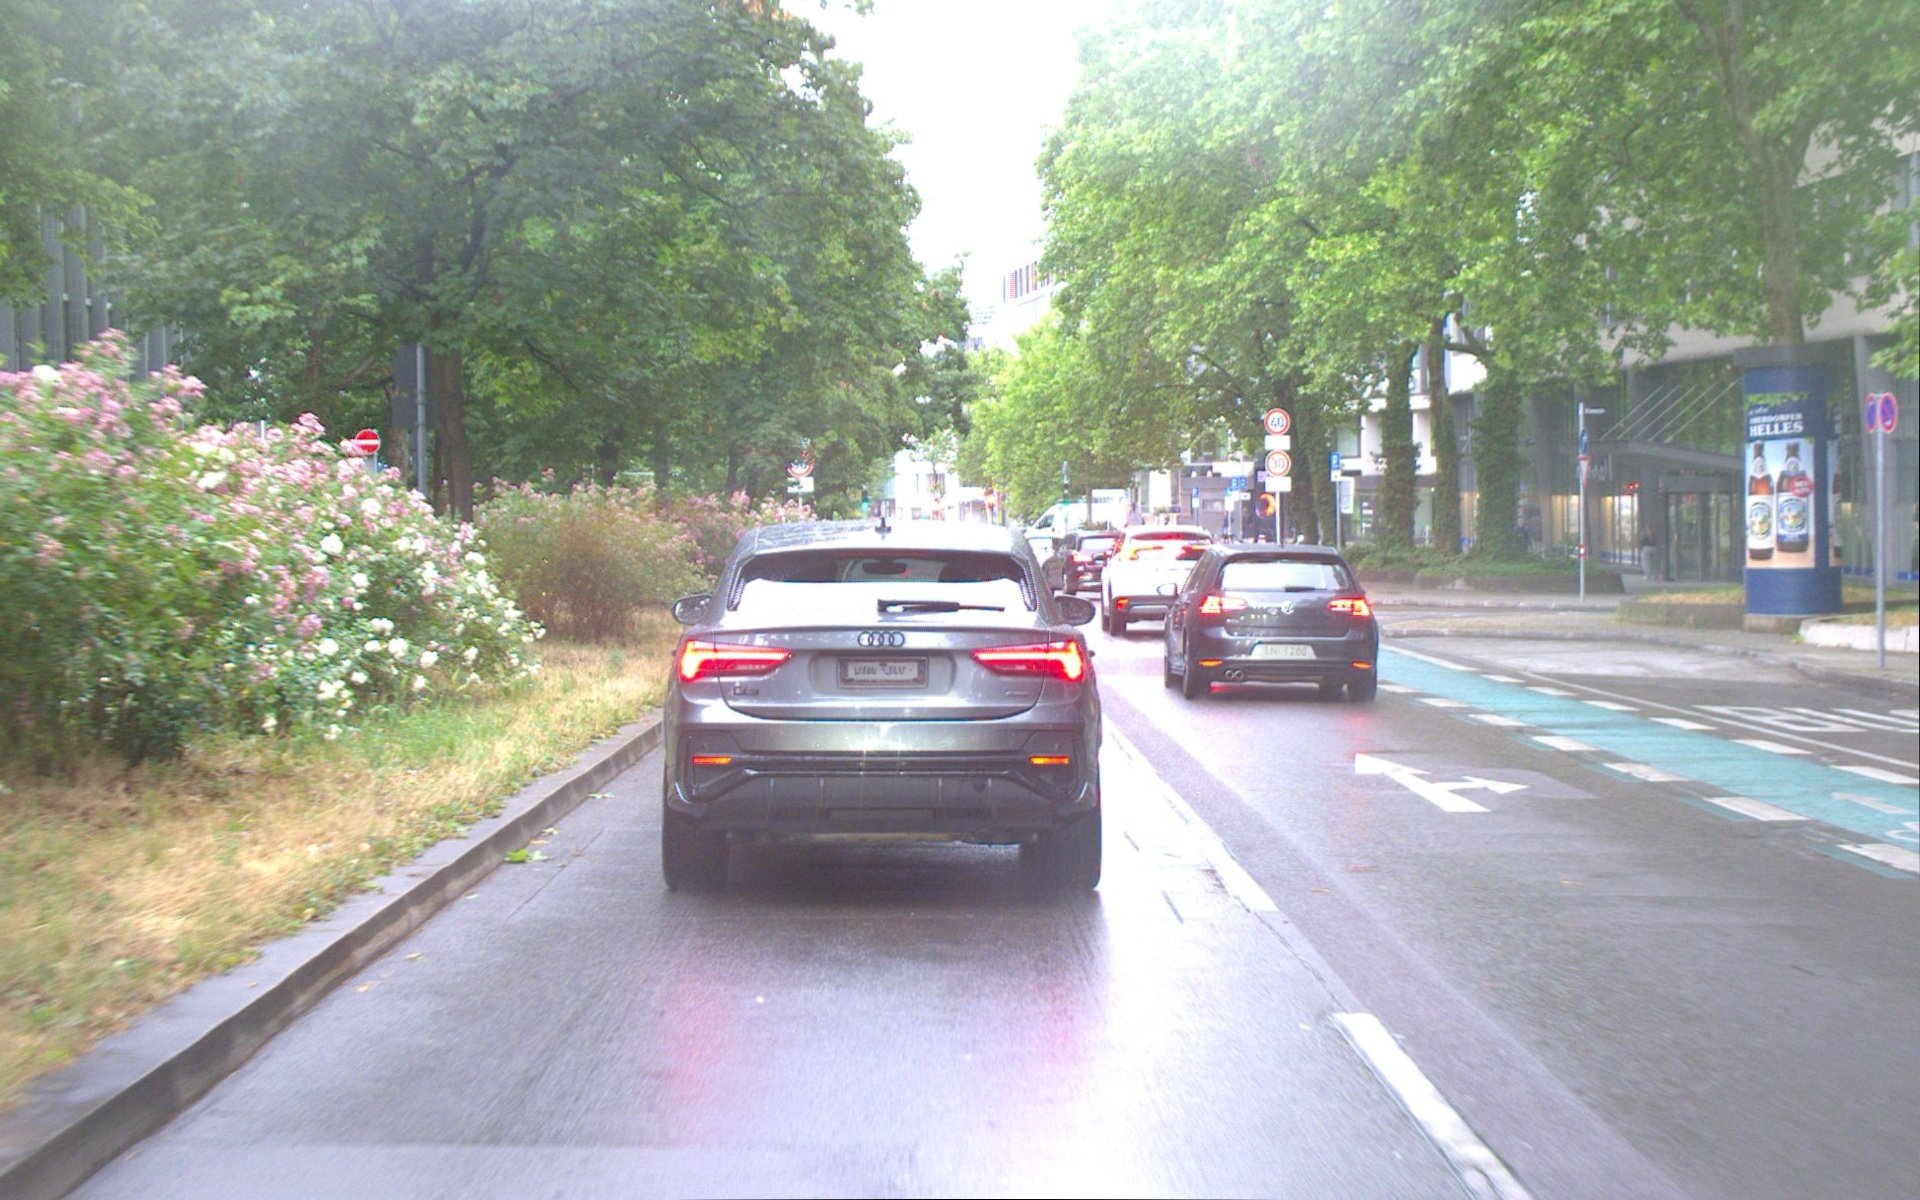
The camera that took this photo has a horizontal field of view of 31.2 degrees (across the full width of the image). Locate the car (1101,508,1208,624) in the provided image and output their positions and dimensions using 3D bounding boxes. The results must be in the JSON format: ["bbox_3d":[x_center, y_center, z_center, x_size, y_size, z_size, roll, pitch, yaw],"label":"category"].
[{"bbox_3d":[2.914,-0.537,51.782,1.433,1.679,2.979,-1,1,0],"label":"car"}]

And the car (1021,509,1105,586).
[{"bbox_3d":[2.385,-1.240,80.370,1.822,1.744,4.000,0,1,0],"label":"car"}]

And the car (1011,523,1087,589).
[{"bbox_3d":[2.441,-1.232,94.752,1.993,1.744,4.000,0,1,0],"label":"car"}]

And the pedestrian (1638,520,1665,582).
[{"bbox_3d":[20.270,-1.444,100.800,0.650,1.809,0.655,0,1,-1],"label":"pedestrian"}]

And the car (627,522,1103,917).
[{"bbox_3d":[-0.334,0.417,15.745,1.863,1.527,4.527,0,1,1],"label":"car"}]

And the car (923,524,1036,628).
[{"bbox_3d":[0.287,-0.407,54.499,1.721,1.572,3.962,0,1,0],"label":"car"}]

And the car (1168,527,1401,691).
[{"bbox_3d":[2.997,0.037,32.450,1.765,1.408,4.000,-1,1,-1],"label":"car"}]
